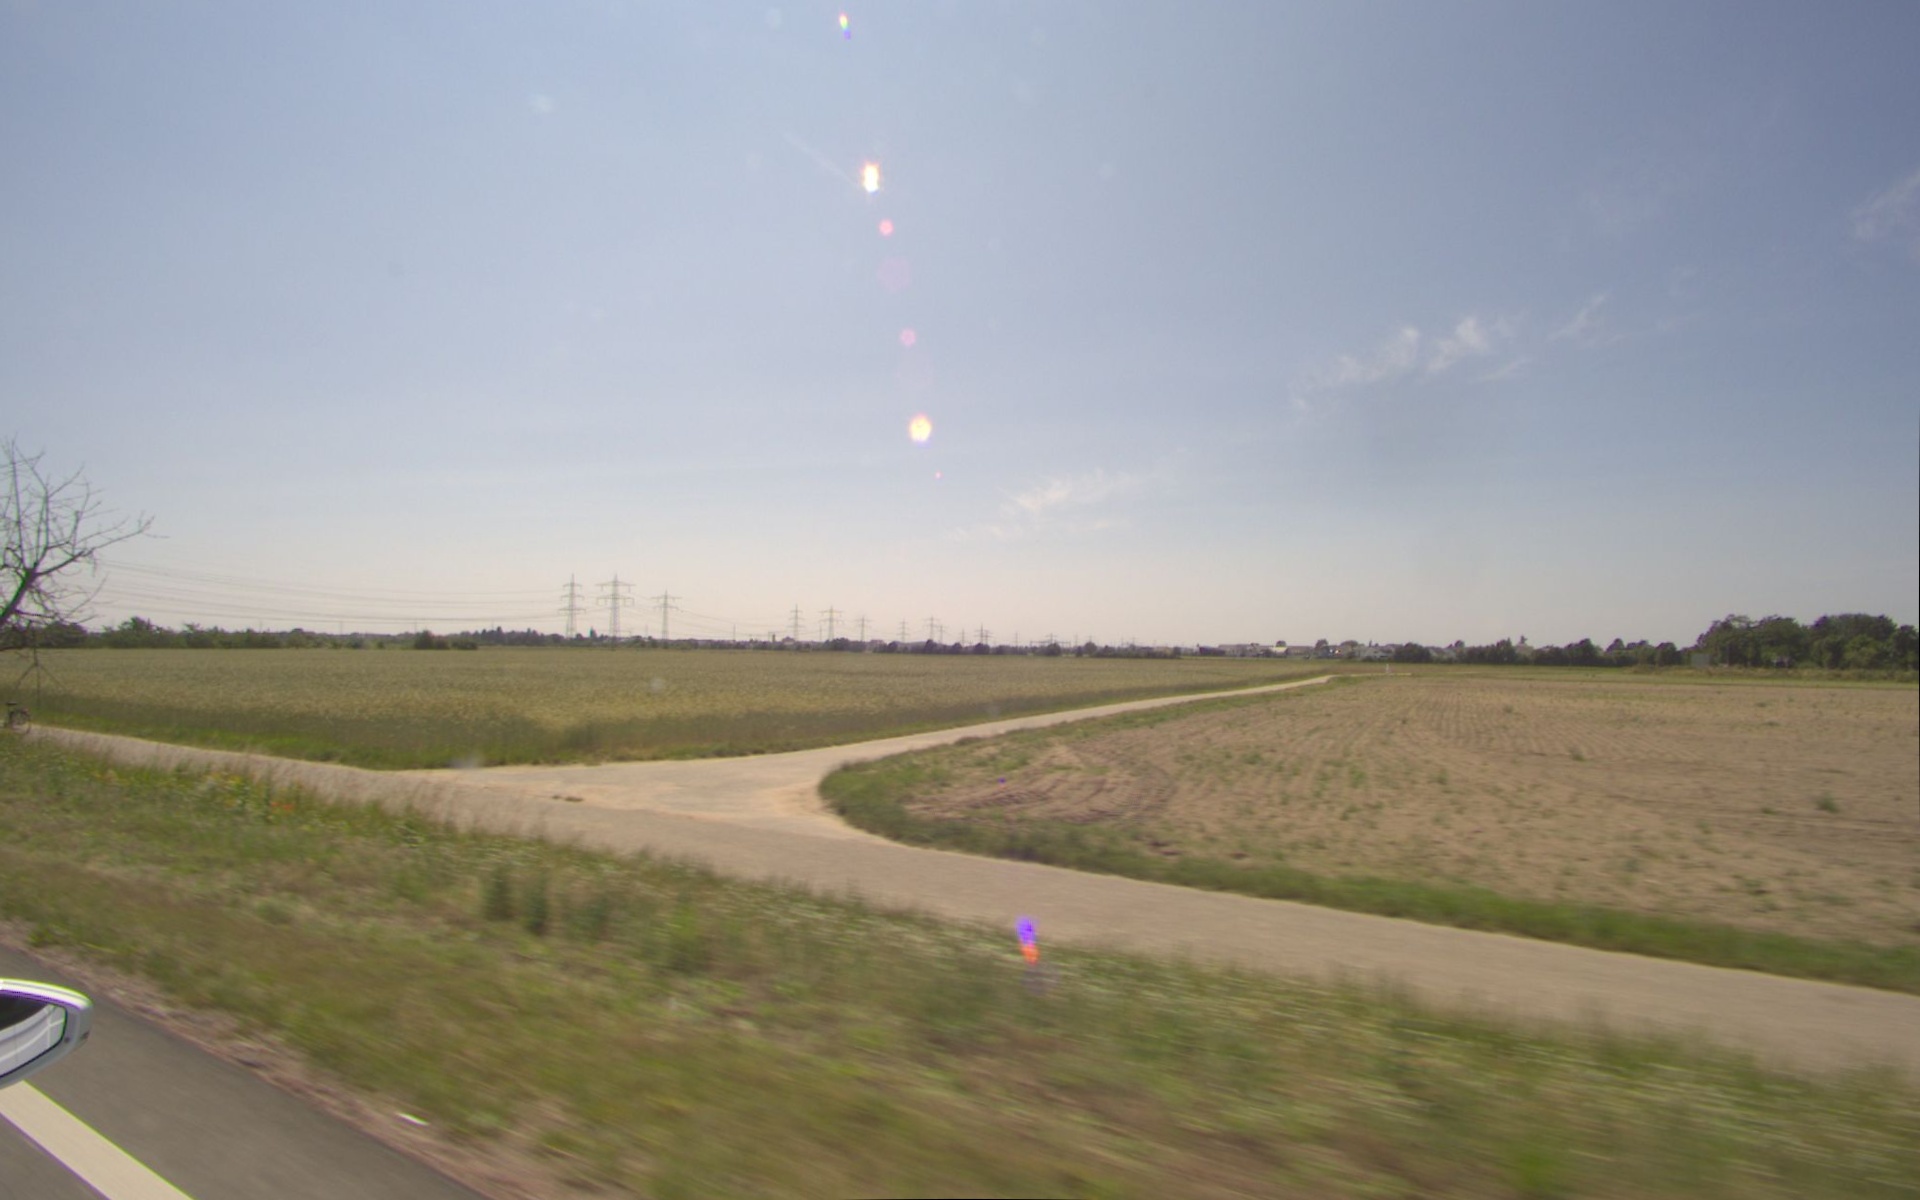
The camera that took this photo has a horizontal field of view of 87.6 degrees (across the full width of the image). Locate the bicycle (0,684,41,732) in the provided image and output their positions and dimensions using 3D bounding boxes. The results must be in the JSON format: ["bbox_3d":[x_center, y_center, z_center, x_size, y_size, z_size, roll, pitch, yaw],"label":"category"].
[{"bbox_3d":[-24.893,2.812,26.184,1.652,1.180,0.476,0,-2,17],"label":"bicycle"}]
